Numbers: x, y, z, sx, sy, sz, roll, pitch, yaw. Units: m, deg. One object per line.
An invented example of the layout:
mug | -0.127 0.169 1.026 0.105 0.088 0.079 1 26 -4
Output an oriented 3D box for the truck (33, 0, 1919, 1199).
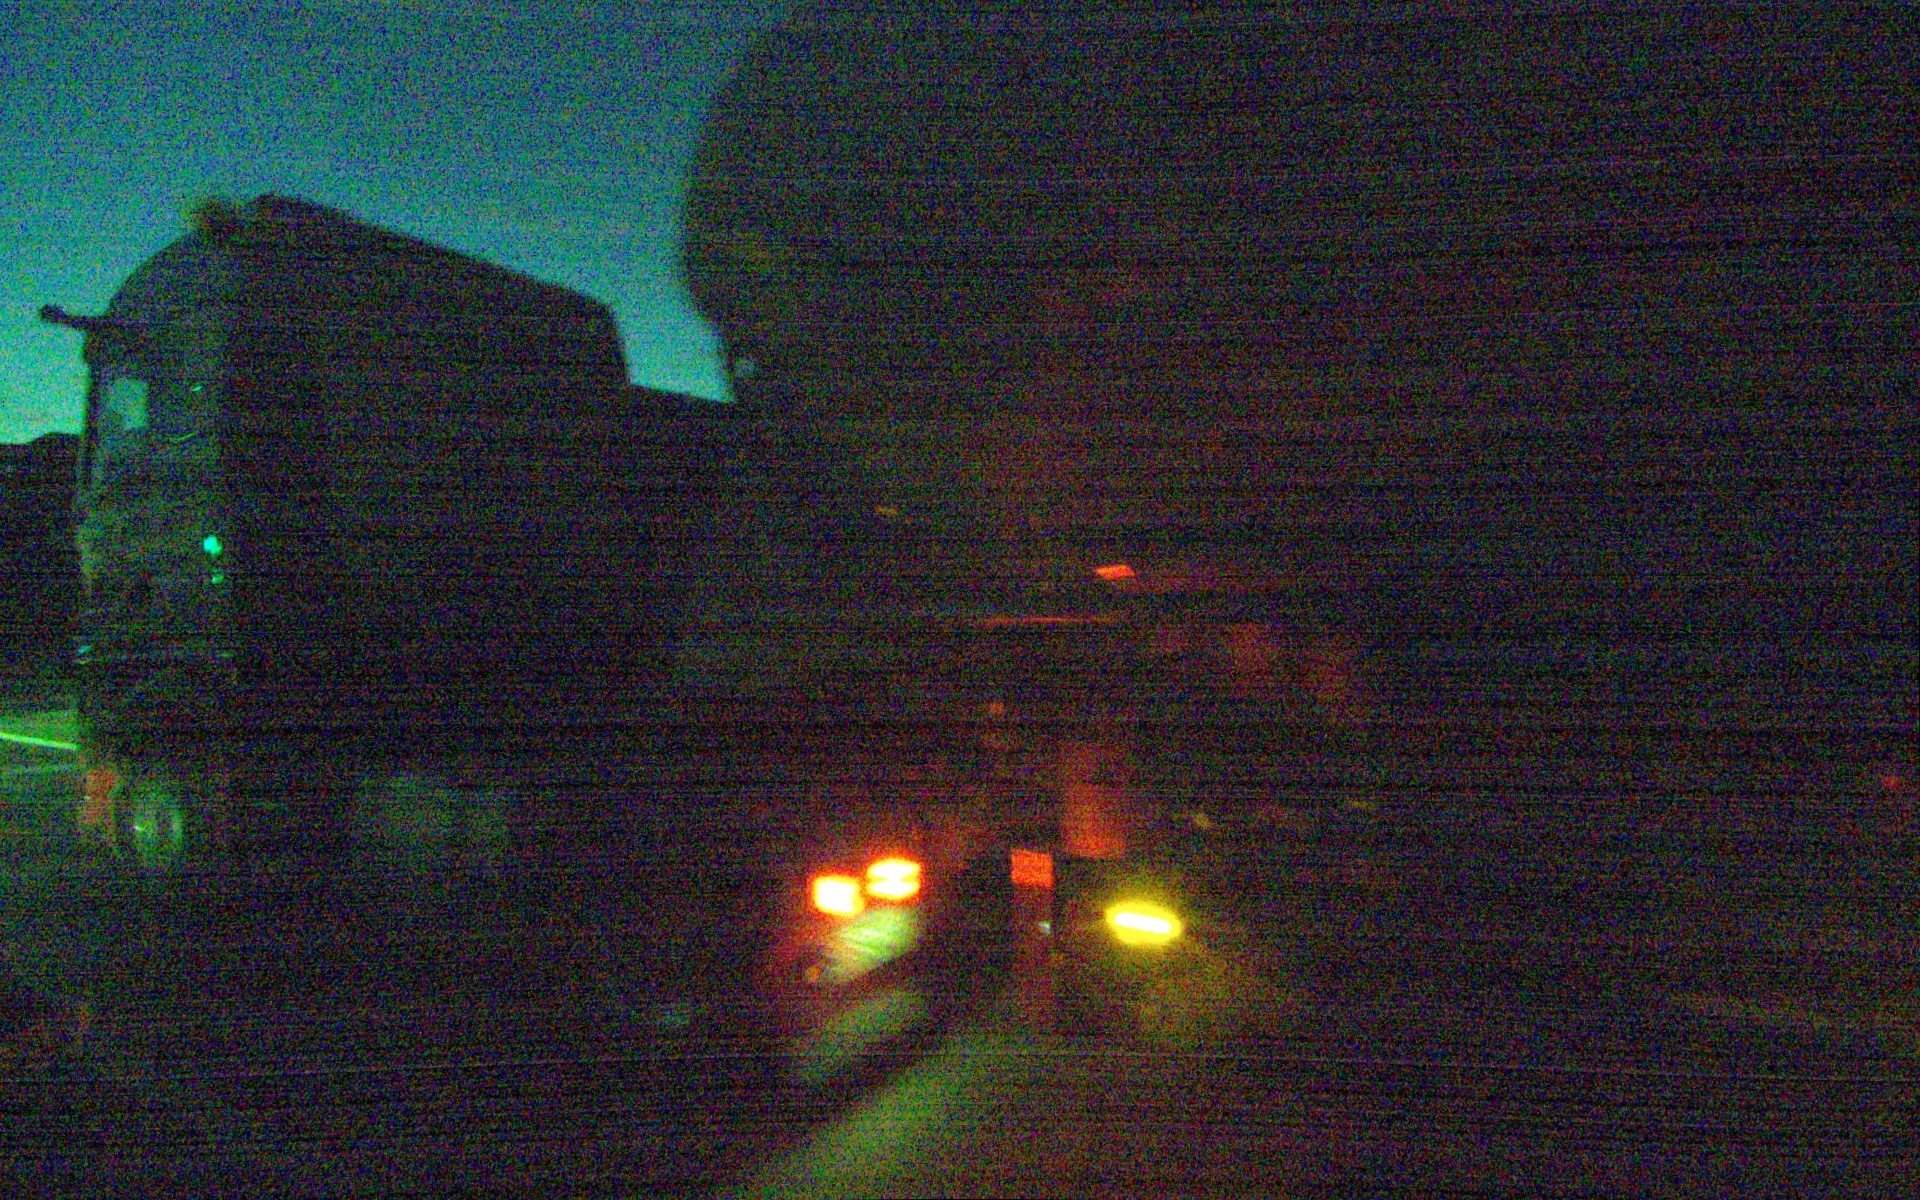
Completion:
truck | 0.755 -0.550 3.592 12.952 4.159 2.683 -1 -2 32
